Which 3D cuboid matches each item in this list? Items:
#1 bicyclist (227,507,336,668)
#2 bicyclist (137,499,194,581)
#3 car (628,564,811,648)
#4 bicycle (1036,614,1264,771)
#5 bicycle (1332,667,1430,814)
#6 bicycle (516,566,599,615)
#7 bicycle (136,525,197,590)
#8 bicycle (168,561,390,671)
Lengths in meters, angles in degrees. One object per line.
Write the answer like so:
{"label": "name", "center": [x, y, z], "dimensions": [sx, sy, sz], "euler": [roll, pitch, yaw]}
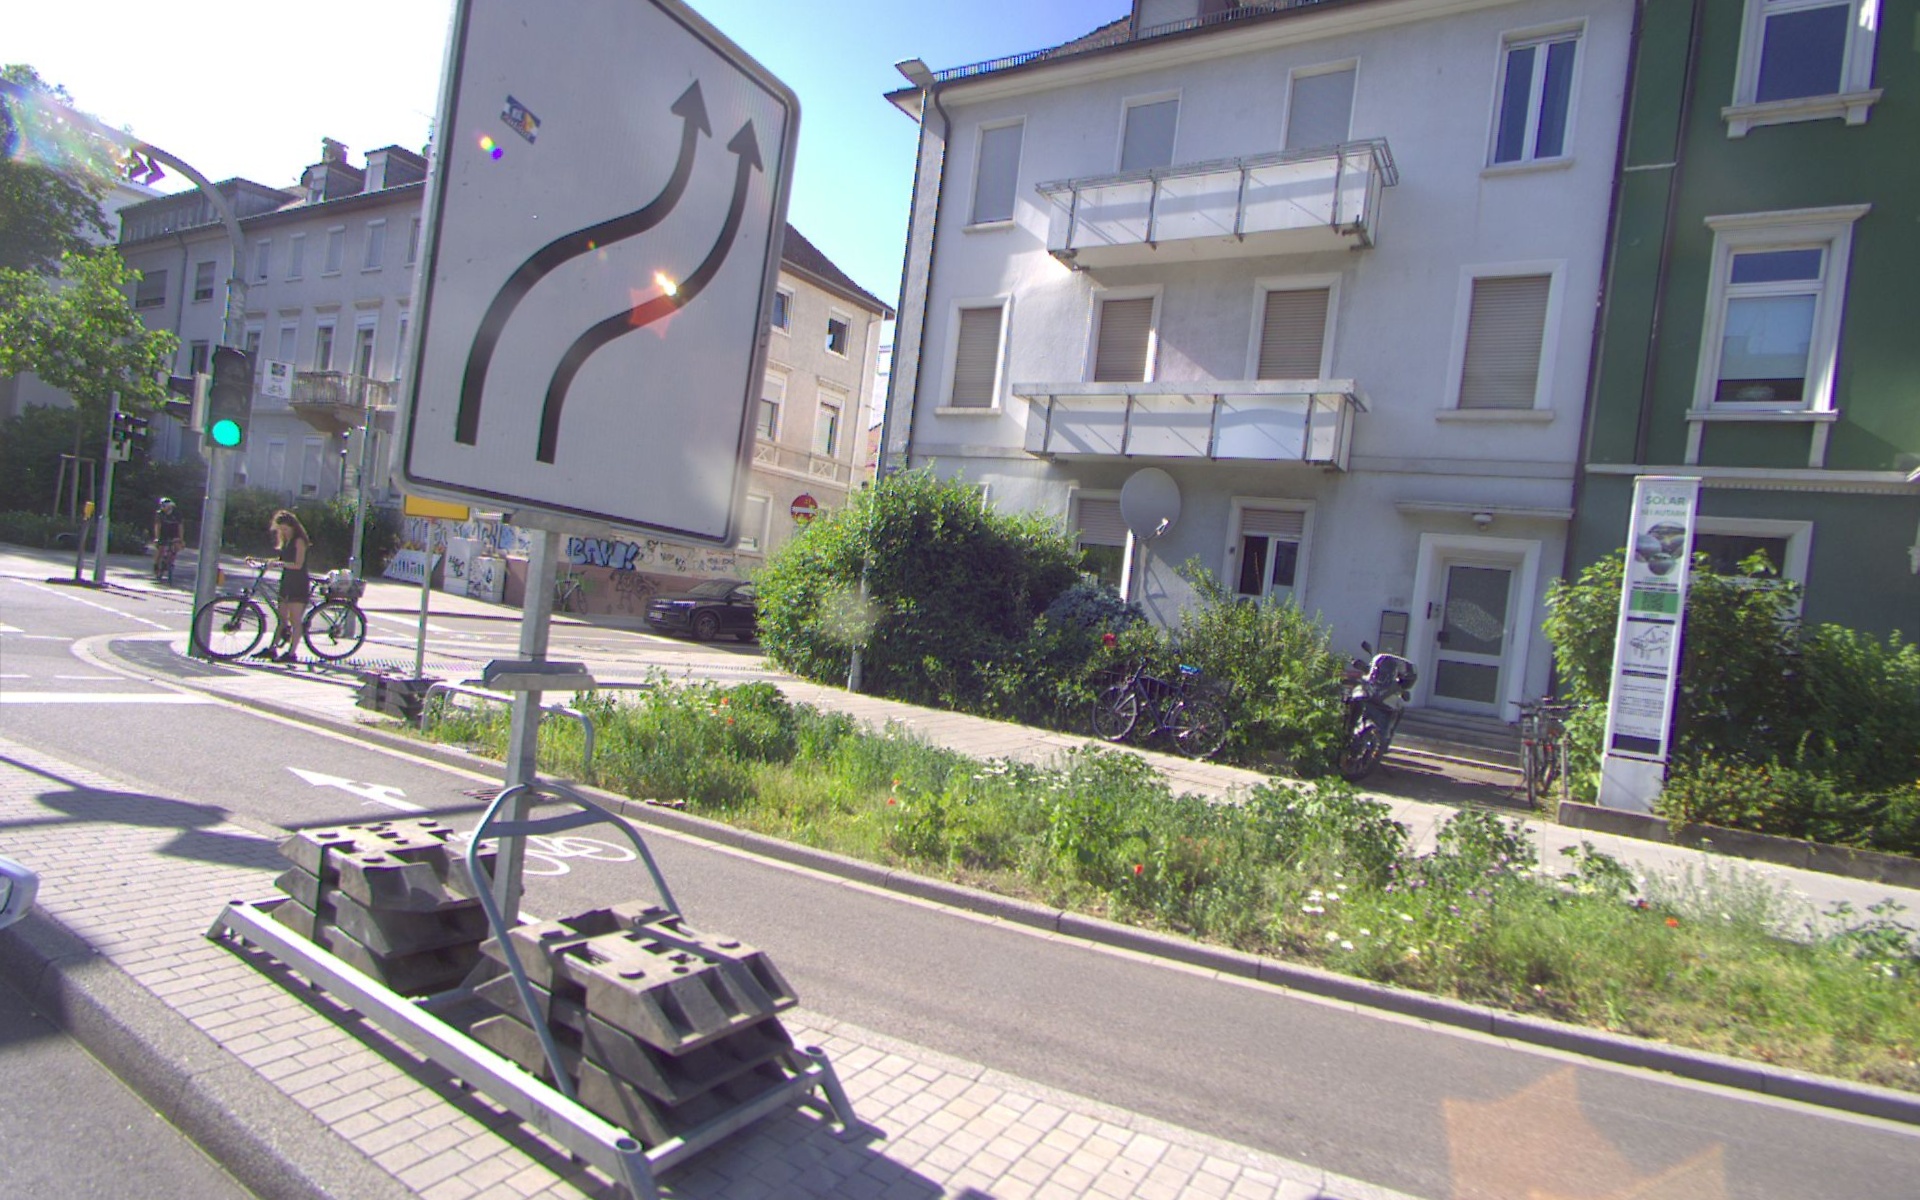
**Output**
{"label": "bicyclist", "center": [-7.816, -0.143, 11.589], "dimensions": [0.844, 1.730, 0.604], "euler": [8, 1, 32]}
{"label": "bicyclist", "center": [-15.941, -1.207, 20.185], "dimensions": [0.721, 1.518, 0.860], "euler": [6, 1, -43]}
{"label": "car", "center": [-6.177, 0.196, 26.244], "dimensions": [1.955, 1.638, 4.251], "euler": [7, -1, 37]}
{"label": "bicycle", "center": [2.269, 1.077, 12.197], "dimensions": [2.449, 1.461, 0.709], "euler": [8, 0, 31]}
{"label": "bicycle", "center": [5.050, 1.601, 11.973], "dimensions": [0.627, 1.503, 2.258], "euler": [8, 0, 30]}
{"label": "bicycle", "center": [-10.814, -0.251, 27.094], "dimensions": [0.570, 1.093, 1.998], "euler": [7, 0, 33]}
{"label": "bicycle", "center": [-15.952, -0.865, 20.214], "dimensions": [1.664, 1.112, 0.687], "euler": [8, 1, 44]}
{"label": "bicycle", "center": [-7.787, 0.220, 11.614], "dimensions": [0.595, 1.037, 1.966], "euler": [8, -1, 31]}
